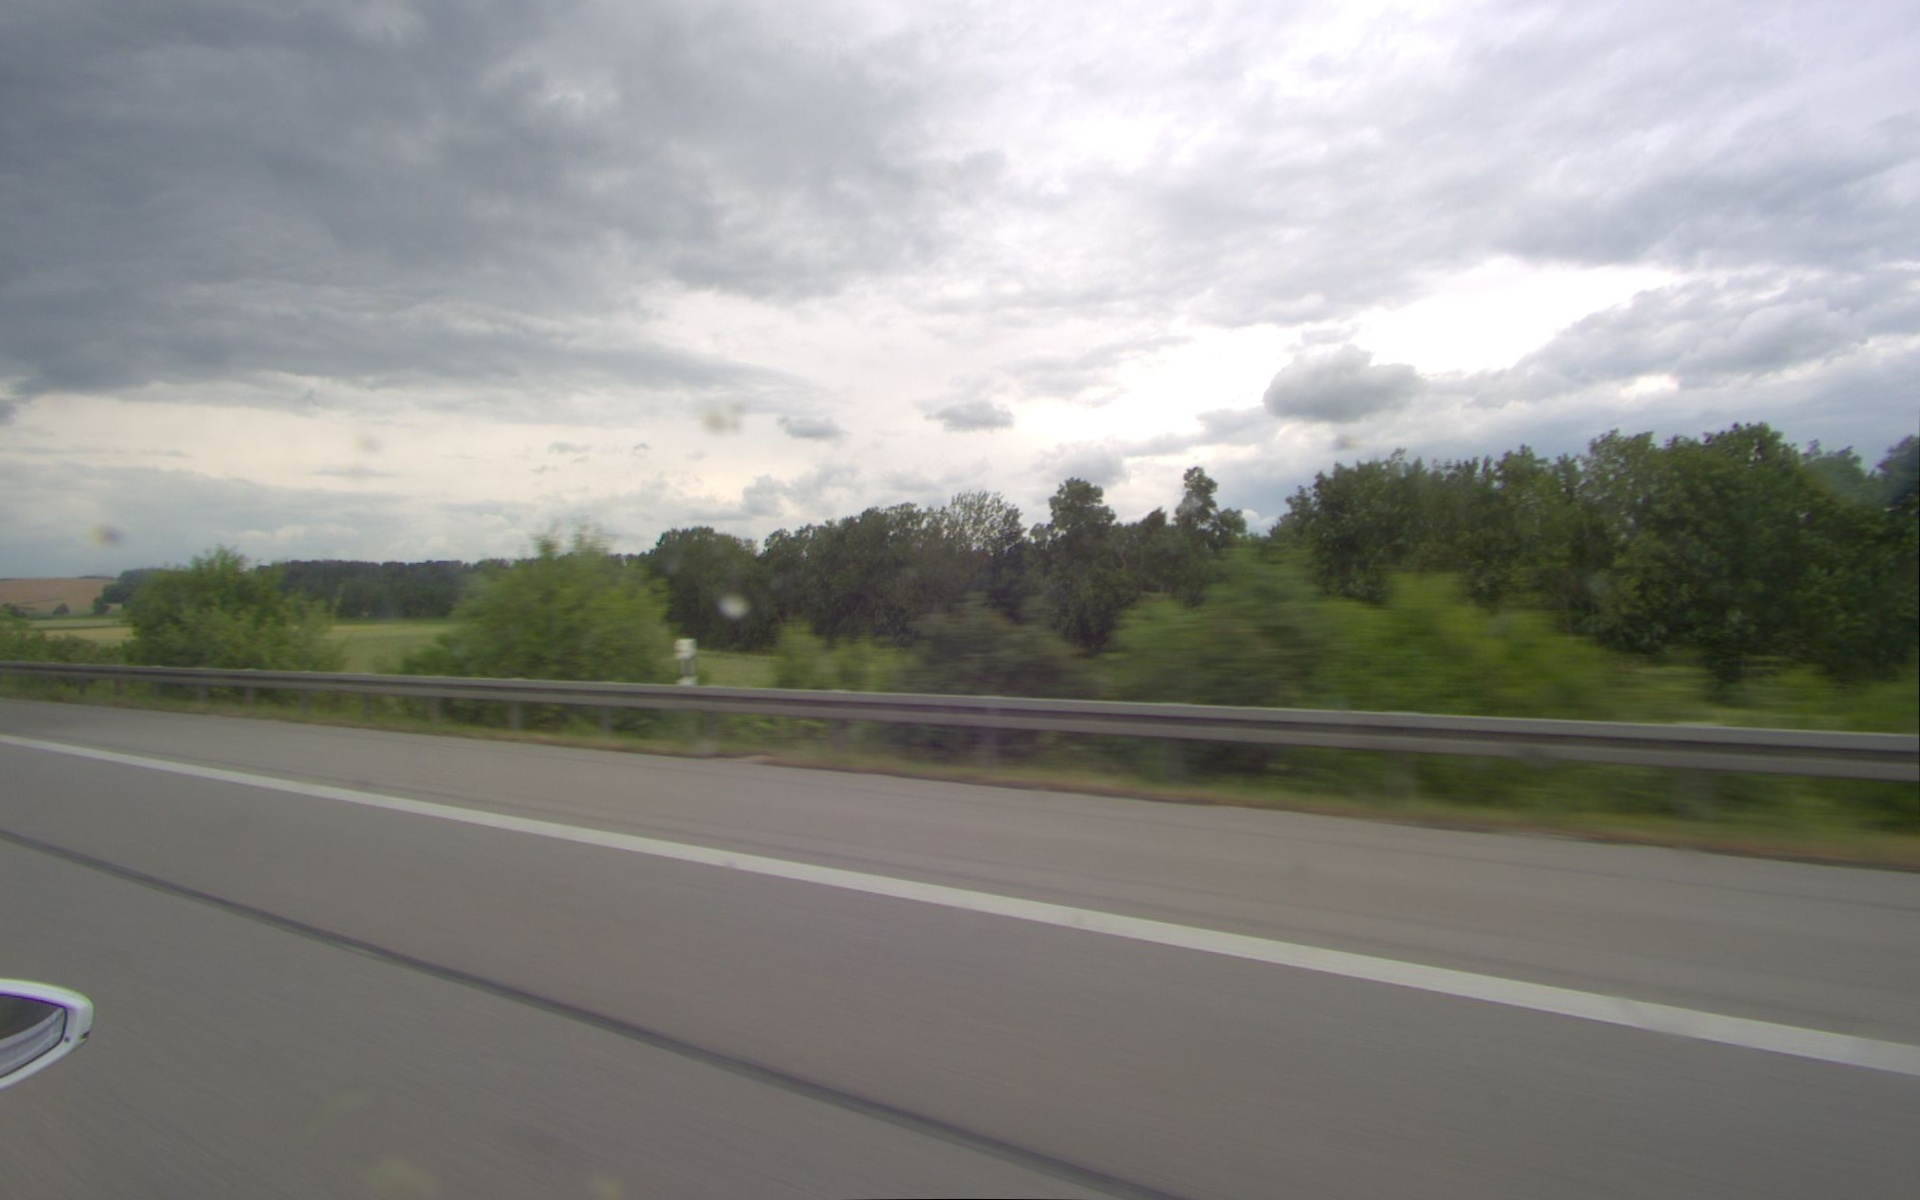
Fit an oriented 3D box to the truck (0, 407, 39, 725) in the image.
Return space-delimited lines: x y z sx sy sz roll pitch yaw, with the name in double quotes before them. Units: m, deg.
"truck" -21.057 -0.416 17.098 16.104 4.471 3.665 -1 0 32
